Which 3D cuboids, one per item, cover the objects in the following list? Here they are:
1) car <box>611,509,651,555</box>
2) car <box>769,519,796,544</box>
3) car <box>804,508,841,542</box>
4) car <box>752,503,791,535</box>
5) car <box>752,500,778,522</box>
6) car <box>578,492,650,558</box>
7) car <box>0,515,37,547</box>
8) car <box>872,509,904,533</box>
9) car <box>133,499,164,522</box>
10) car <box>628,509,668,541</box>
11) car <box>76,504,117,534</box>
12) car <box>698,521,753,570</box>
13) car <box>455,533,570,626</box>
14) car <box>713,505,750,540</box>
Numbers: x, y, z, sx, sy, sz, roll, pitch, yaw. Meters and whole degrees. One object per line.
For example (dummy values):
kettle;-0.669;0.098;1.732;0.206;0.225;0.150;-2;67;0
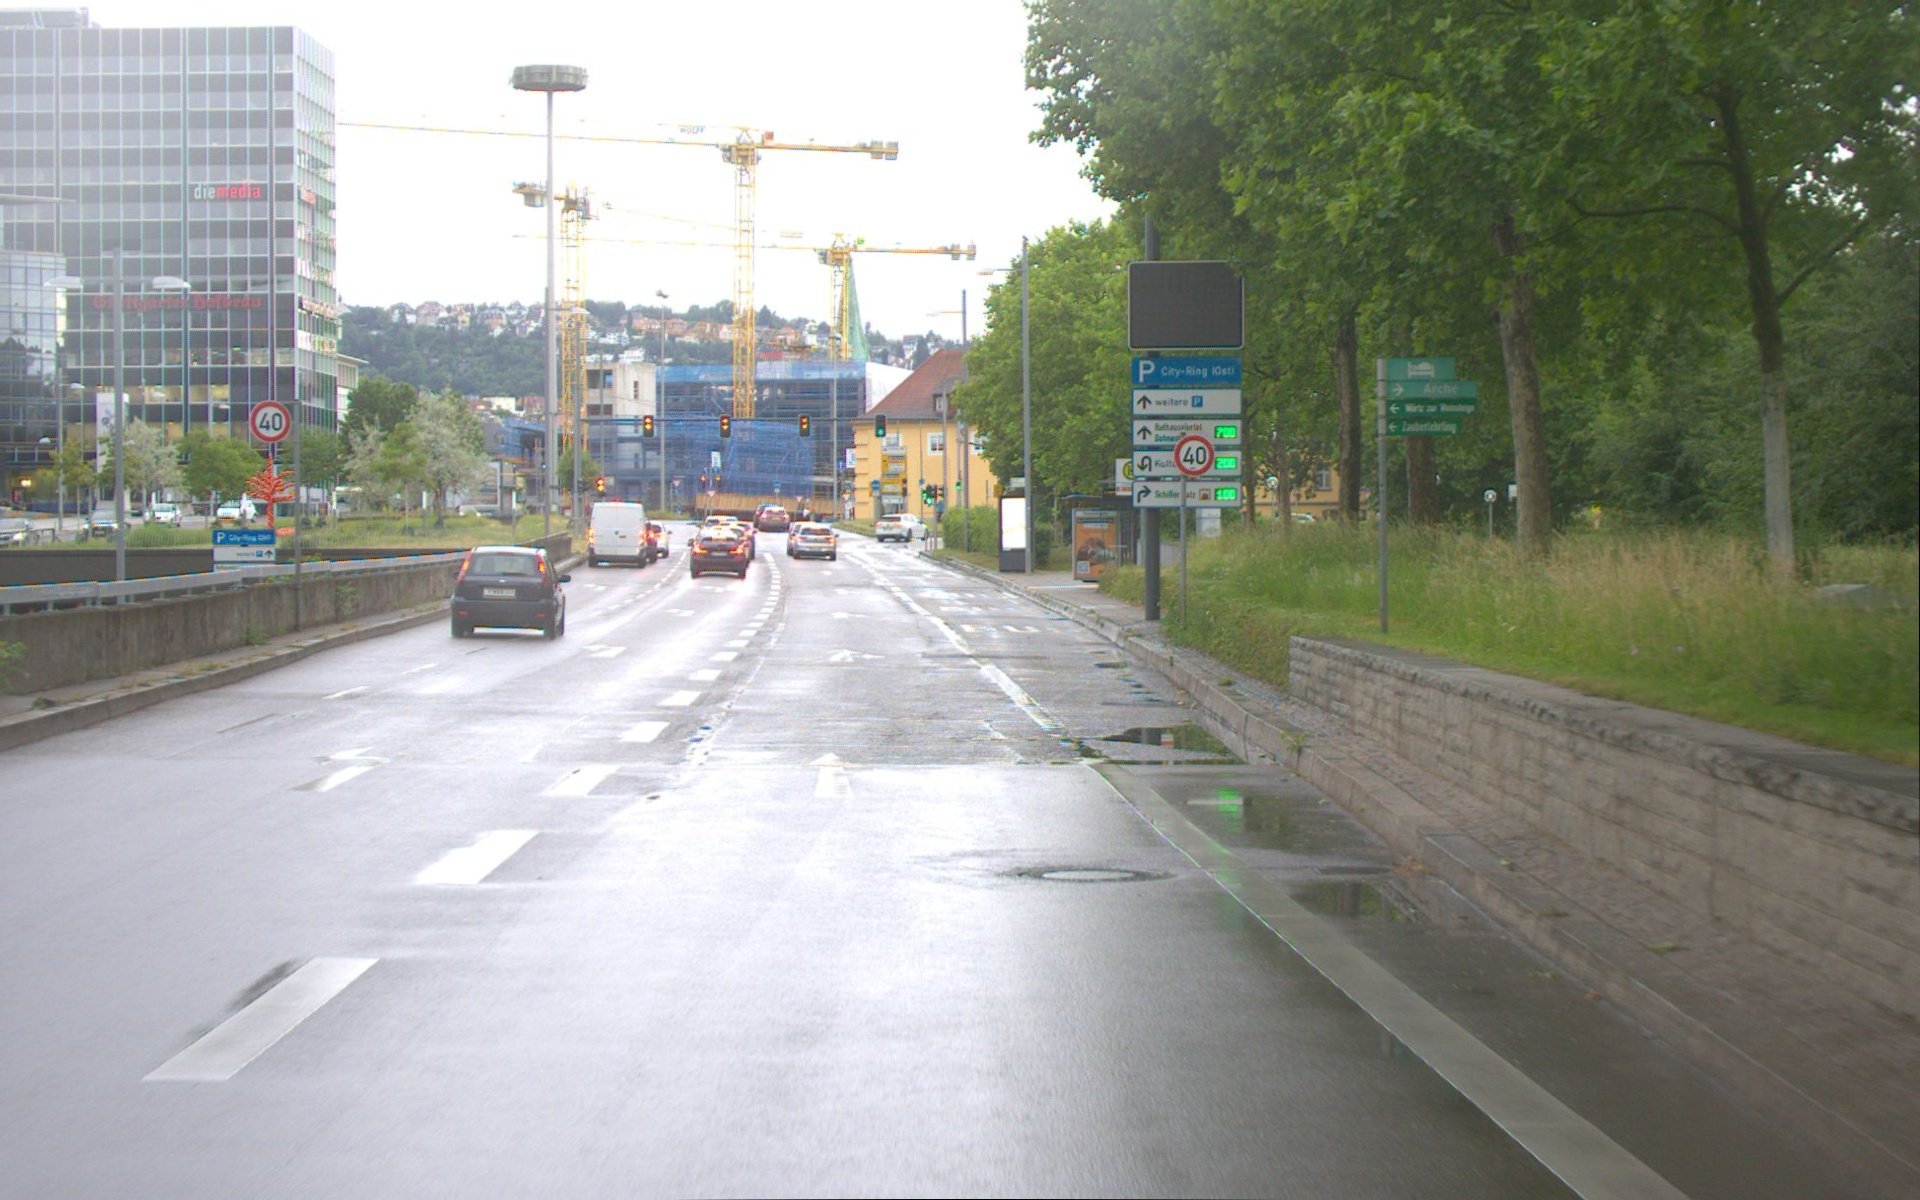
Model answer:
car;-12.568;-2.580;131.491;1.464;1.700;3.142;1;0;-5
car;-7.682;-2.961;148.684;1.076;0.987;1.972;1;0;0
car;-5.690;-3.084;142.277;1.444;1.354;2.412;1;0;0
car;-11.508;-4.934;209.769;2.161;1.873;3.771;1;0;0
car;-12.585;-5.757;221.992;1.479;1.355;3.136;1;0;0
car;-12.490;-2.689;124.359;2.292;2.306;5.006;1;0;-3
car;-41.902;-3.064;152.080;1.344;1.348;2.931;1;0;-1
car;-3.831;-4.199;183.776;1.636;1.170;3.265;1;0;0
car;-48.609;-5.358;205.948;1.407;1.250;3.167;1;0;-5
car;-12.739;-3.069;140.407;1.551;1.256;2.581;1;0;-4
car;-43.601;-4.083;173.610;1.464;1.435;2.963;1;0;-3
car;-7.805;-1.828;114.126;1.753;1.466;4.223;1;2;-5
car;-7.156;-0.346;55.245;1.542;1.410;3.902;1;1;-4
car;-9.342;-3.151;140.640;1.493;1.365;3.034;1;0;-4
